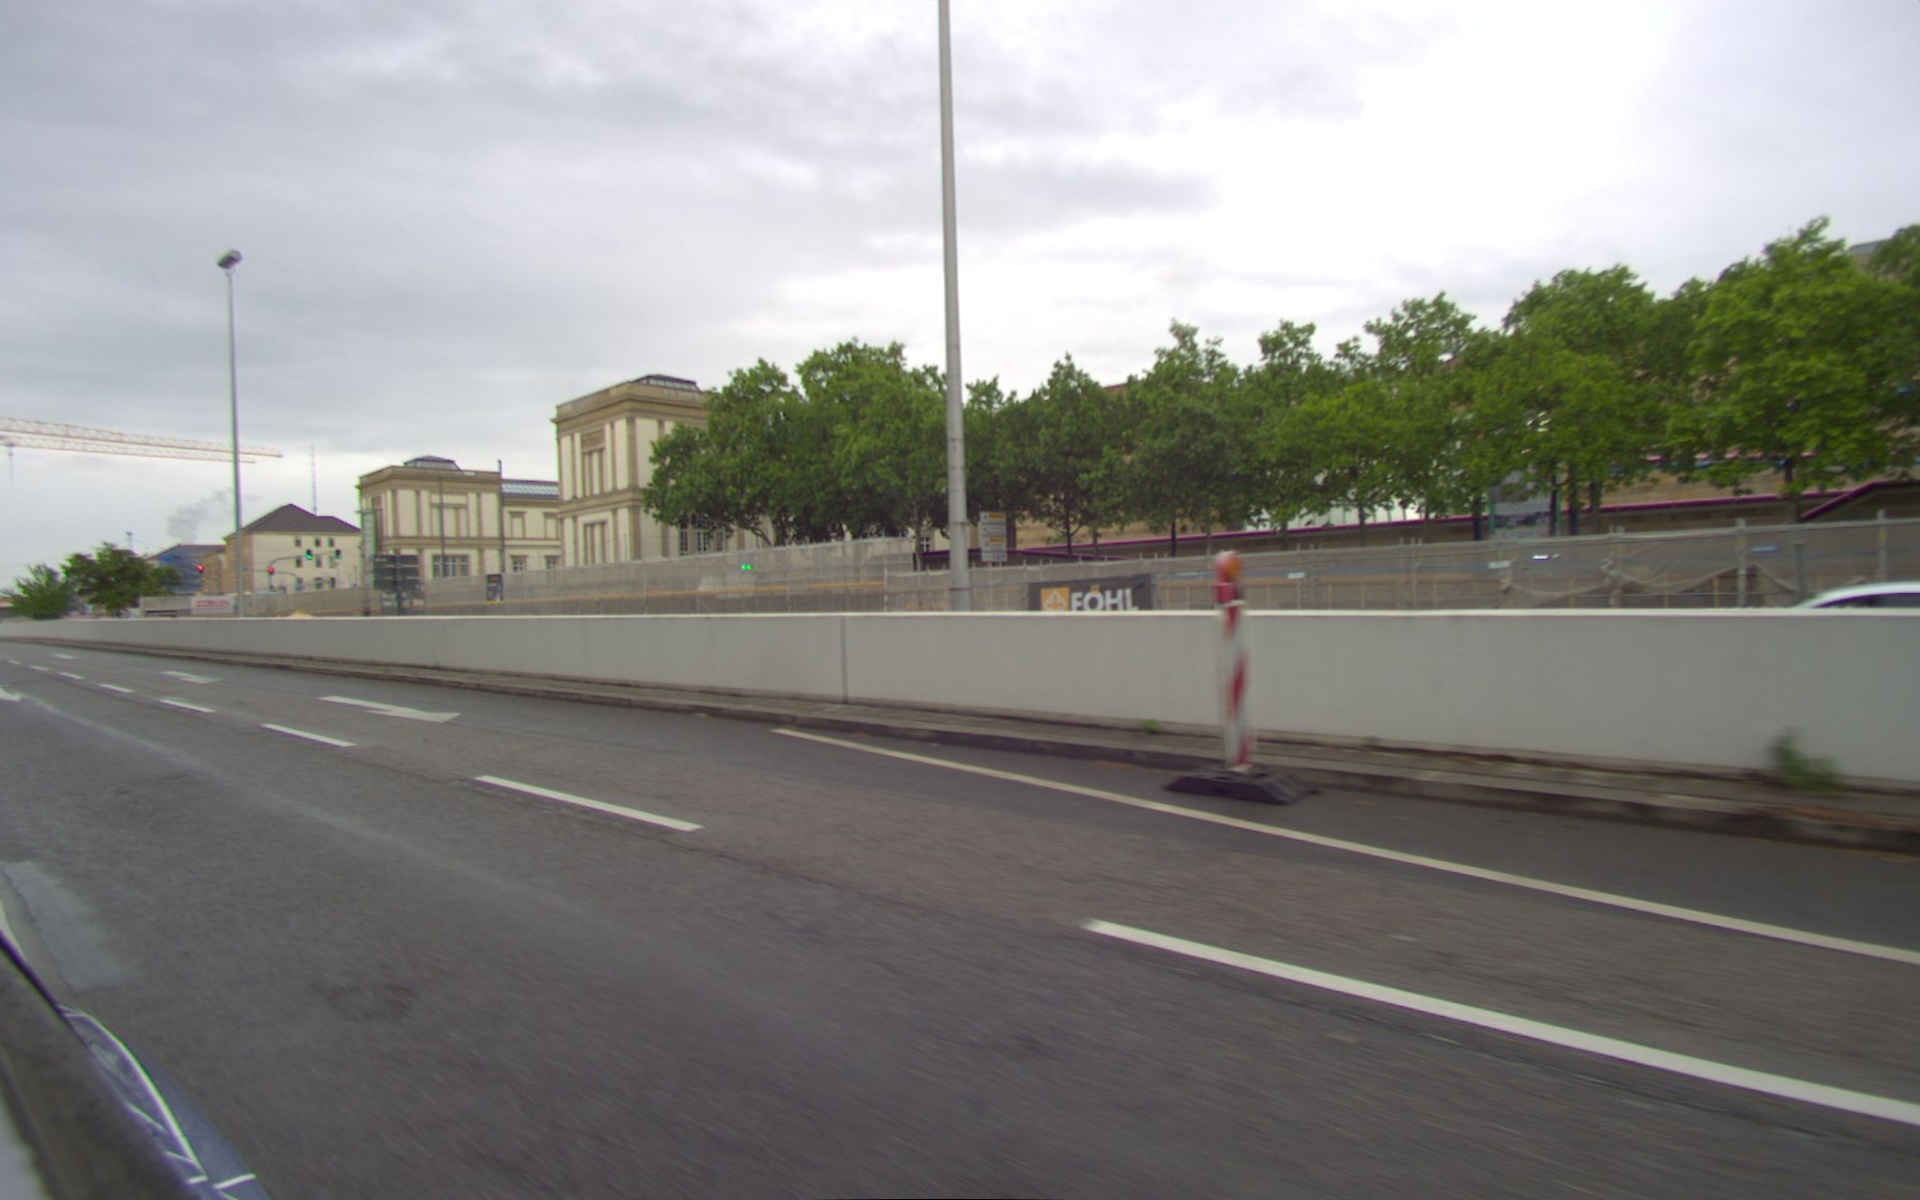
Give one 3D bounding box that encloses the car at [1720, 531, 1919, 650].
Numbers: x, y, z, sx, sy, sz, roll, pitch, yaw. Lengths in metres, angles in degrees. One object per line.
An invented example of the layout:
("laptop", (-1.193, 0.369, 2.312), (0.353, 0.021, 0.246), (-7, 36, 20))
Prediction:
("car", (10.426, -0.134, 10.939), (3.404, 1.204, 1.609), (-1, 2, 42))
